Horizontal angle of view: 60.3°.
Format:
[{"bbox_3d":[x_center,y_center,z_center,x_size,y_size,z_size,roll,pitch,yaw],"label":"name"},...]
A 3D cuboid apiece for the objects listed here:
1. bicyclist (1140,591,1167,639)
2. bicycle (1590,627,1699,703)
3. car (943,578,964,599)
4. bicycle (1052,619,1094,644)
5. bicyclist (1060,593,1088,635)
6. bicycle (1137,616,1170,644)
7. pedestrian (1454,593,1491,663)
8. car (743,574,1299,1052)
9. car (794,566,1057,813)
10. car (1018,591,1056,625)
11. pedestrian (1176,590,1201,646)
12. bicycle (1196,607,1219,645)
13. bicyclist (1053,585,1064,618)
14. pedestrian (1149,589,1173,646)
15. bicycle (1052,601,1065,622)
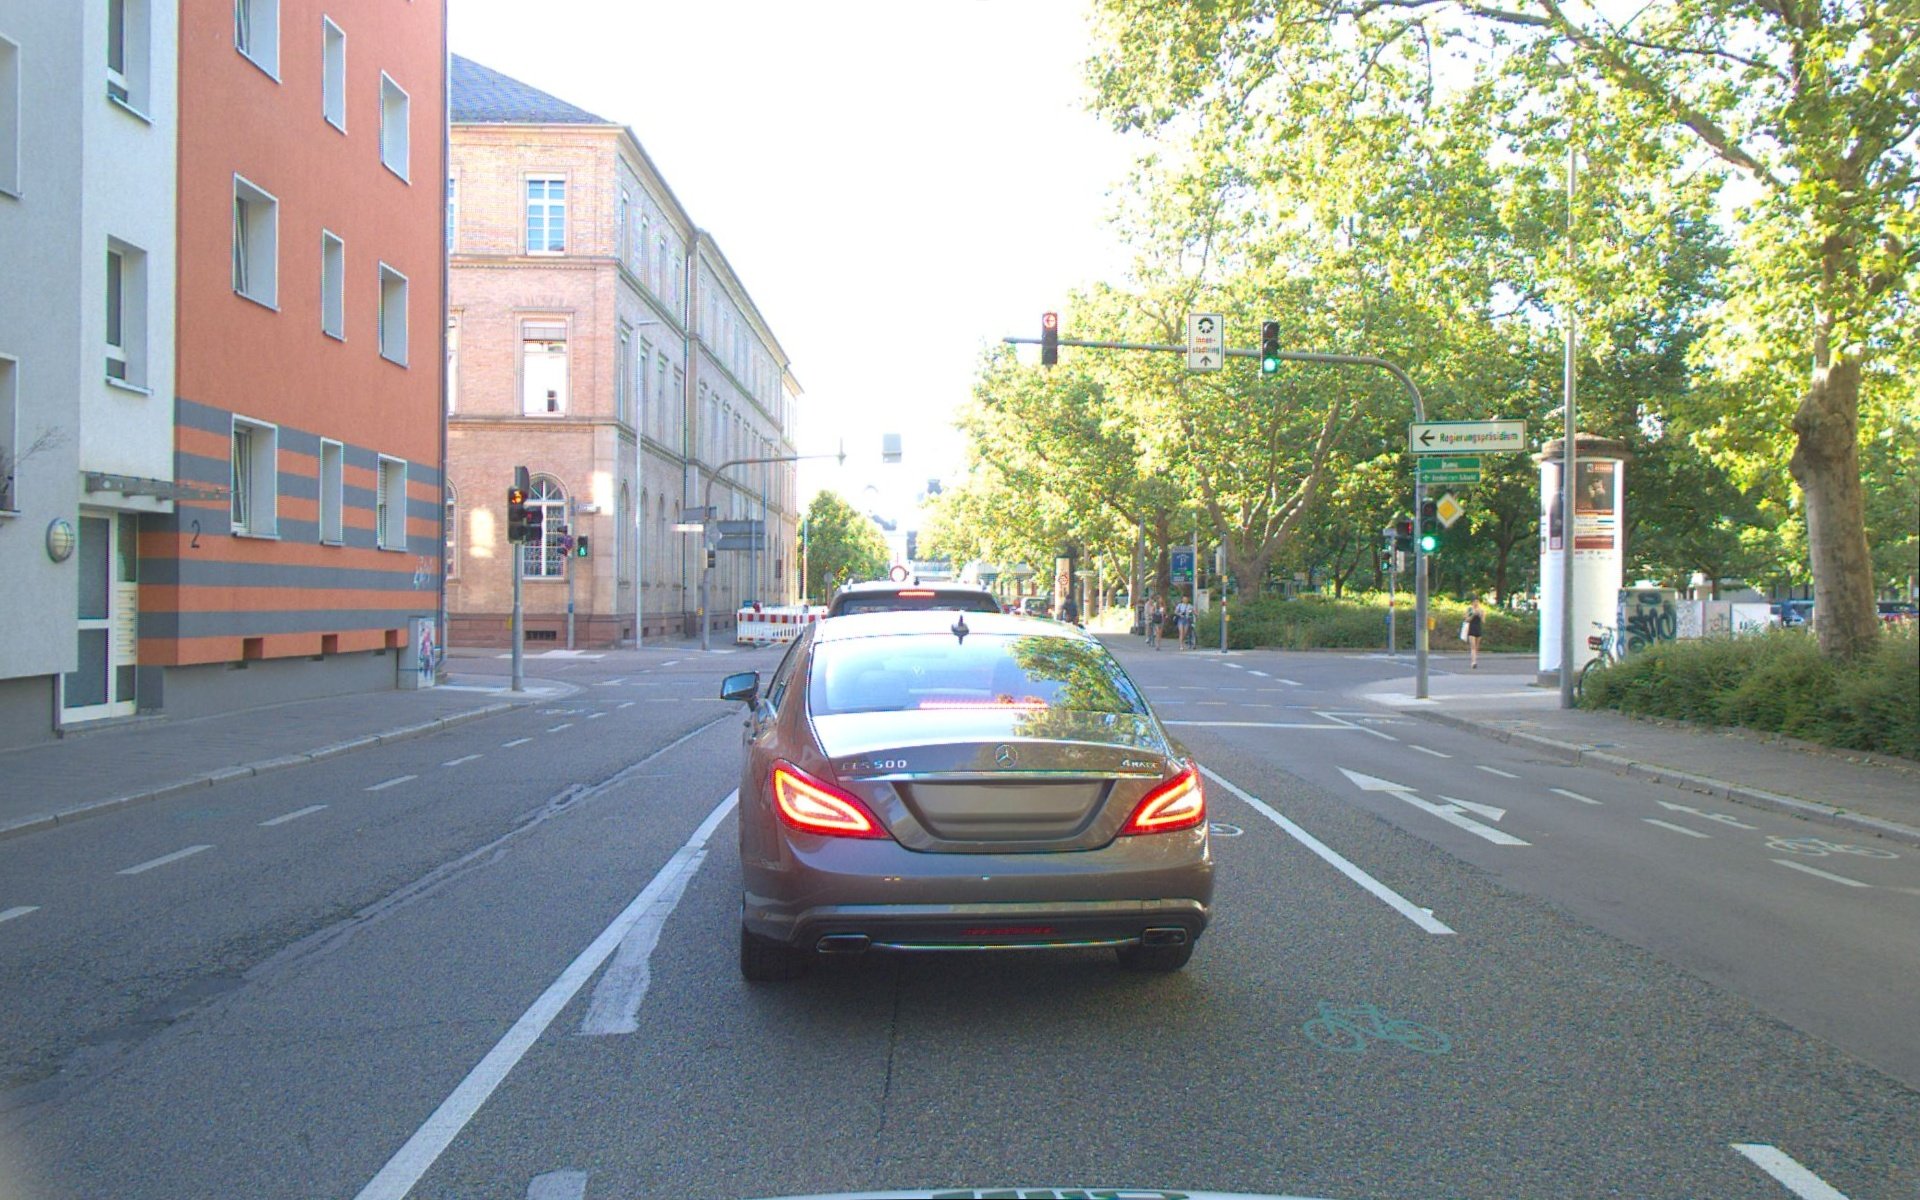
[{"bbox_3d":[6.788,0.522,58.093,0.808,1.646,0.957,1,0,-1],"label":"bicyclist"},{"bbox_3d":[9.872,0.925,23.836,1.868,1.046,0.633,1,-1,-39],"label":"bicycle"},{"bbox_3d":[-0.545,-0.952,140.838,1.696,1.691,3.680,1,0,-1],"label":"car"},{"bbox_3d":[3.838,1.049,55.907,0.709,0.805,1.925,1,0,27],"label":"bicycle"},{"bbox_3d":[3.845,0.473,55.898,0.719,1.422,0.697,1,-1,28],"label":"bicyclist"},{"bbox_3d":[6.772,1.033,58.041,0.811,0.940,2.616,1,0,-1],"label":"bicycle"},{"bbox_3d":[11.721,0.634,37.841,0.622,1.572,0.911,1,0,5],"label":"pedestrian"},{"bbox_3d":[-0.033,0.690,7.464,1.826,1.545,3.993,1,0,-8],"label":"car"},{"bbox_3d":[-0.269,0.620,13.591,1.823,1.712,3.999,1,0,-1],"label":"car"},{"bbox_3d":[4.254,0.414,91.711,1.823,1.794,4.481,1,0,-1],"label":"car"},{"bbox_3d":[7.405,0.592,53.657,0.623,1.791,0.698,1,-1,-5],"label":"pedestrian"},{"bbox_3d":[8.008,0.829,53.572,0.472,1.223,1.606,1,0,-1],"label":"bicycle"},{"bbox_3d":[6.274,0.090,105.041,0.583,2.075,0.565,1,-1,-5],"label":"bicyclist"},{"bbox_3d":[6.547,0.574,53.900,0.623,1.828,0.698,1,-1,-5],"label":"pedestrian"},{"bbox_3d":[6.259,0.724,105.063,0.580,1.285,1.804,1,0,-5],"label":"bicycle"}]
